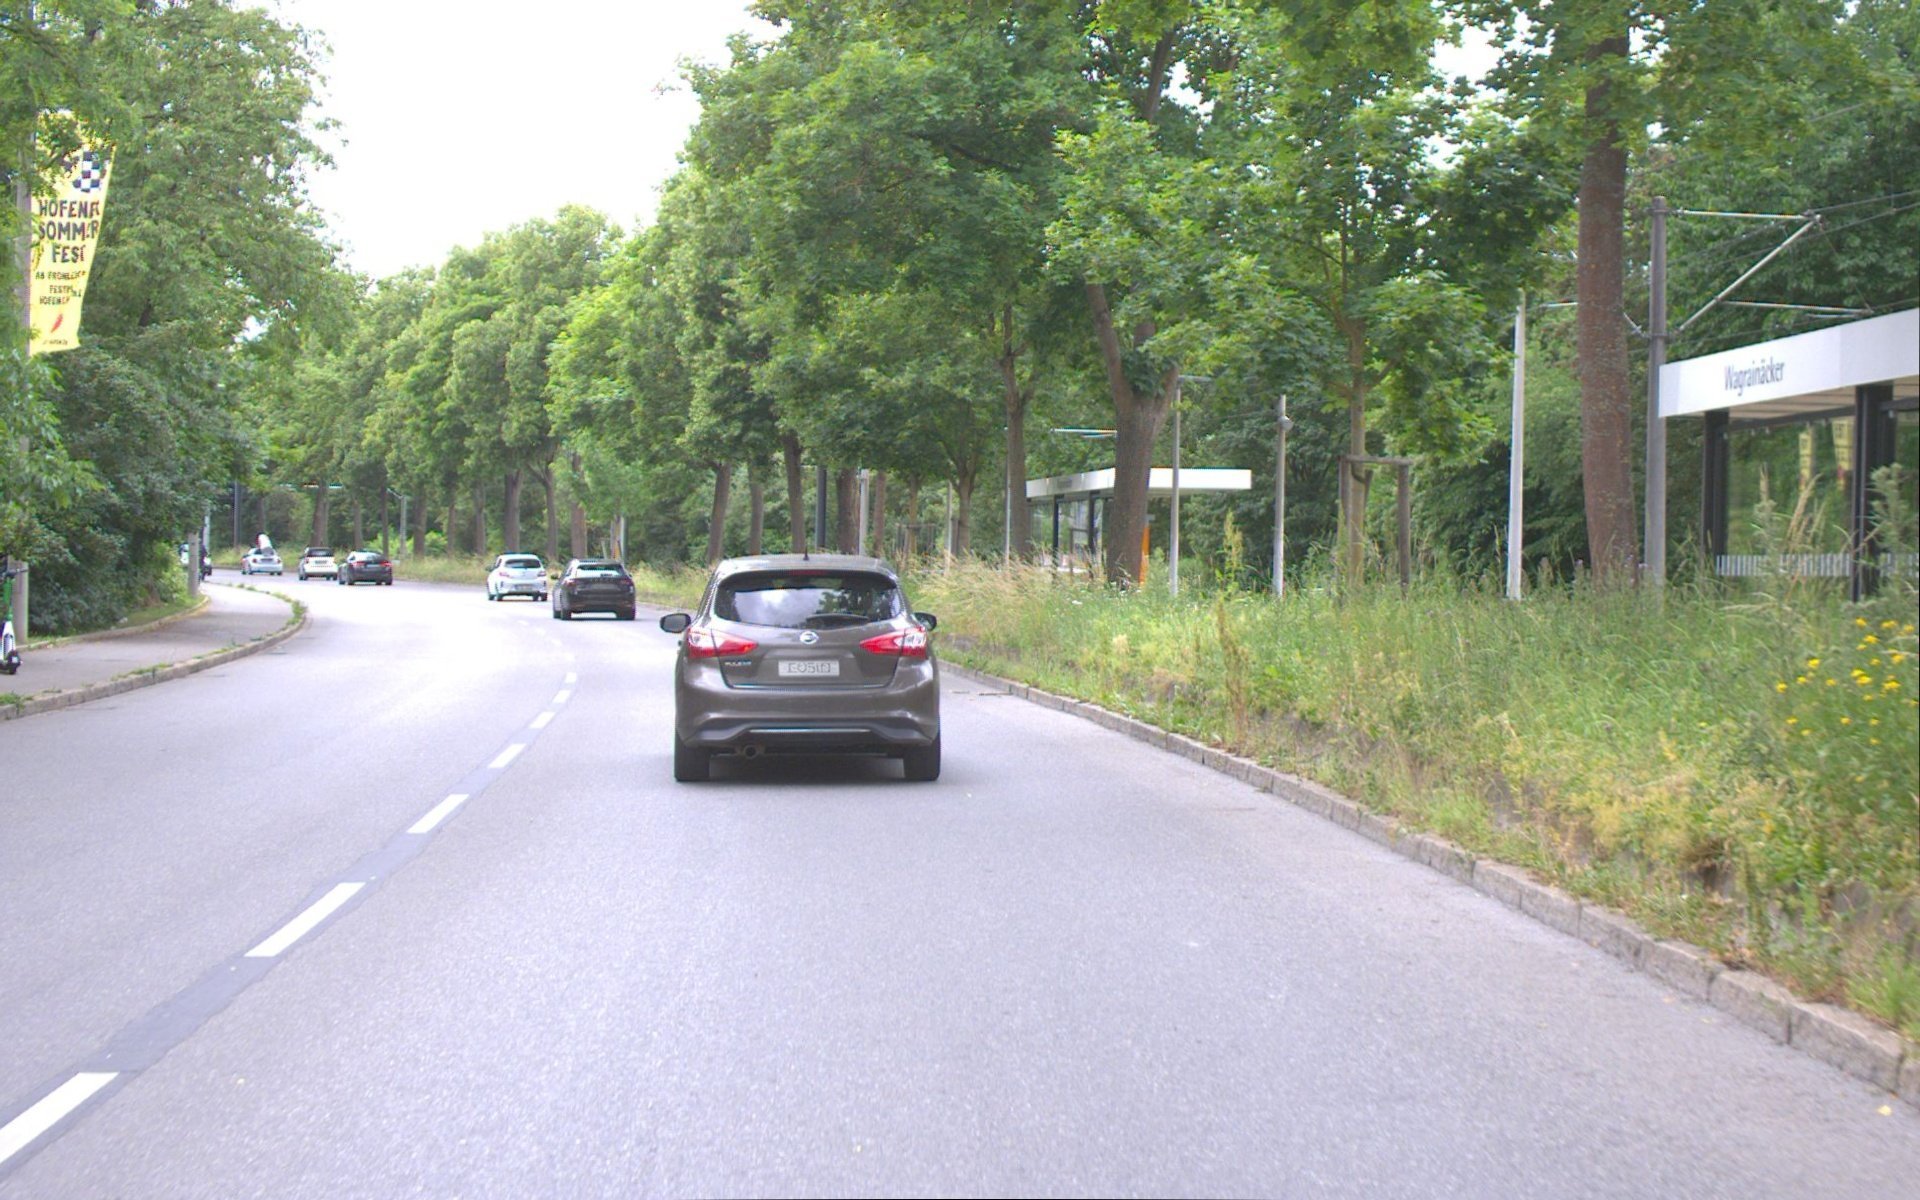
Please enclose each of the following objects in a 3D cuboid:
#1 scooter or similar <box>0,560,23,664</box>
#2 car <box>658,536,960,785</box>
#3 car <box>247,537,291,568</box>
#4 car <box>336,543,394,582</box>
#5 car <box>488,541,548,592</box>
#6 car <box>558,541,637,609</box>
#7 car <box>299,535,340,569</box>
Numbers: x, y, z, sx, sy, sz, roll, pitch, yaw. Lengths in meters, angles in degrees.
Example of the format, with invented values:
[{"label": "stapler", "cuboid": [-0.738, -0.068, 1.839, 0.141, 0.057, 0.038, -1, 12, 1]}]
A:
[{"label": "scooter or similar", "cuboid": [-11.251, 0.131, 40.111, 0.364, 1.180, 1.298, 2, 1, -25]}, {"label": "car", "cuboid": [-1.128, 0.350, 23.787, 1.815, 1.503, 4.001, 0, 2, -6]}, {"label": "car", "cuboid": [-36.693, -2.529, 182.606, 1.775, 1.467, 4.002, 3, 1, -18]}, {"label": "car", "cuboid": [-25.517, -1.625, 147.355, 1.775, 1.467, 4.002, 4, 1, -18]}, {"label": "car", "cuboid": [-14.202, -1.091, 110.670, 1.775, 1.467, 4.001, 3, 1, -6]}, {"label": "car", "cuboid": [-8.743, -0.617, 82.929, 1.775, 1.467, 4.001, 3, 1, -6]}, {"label": "car", "cuboid": [-30.273, -2.277, 162.419, 1.775, 1.467, 4.002, 2, 2, -12]}]
